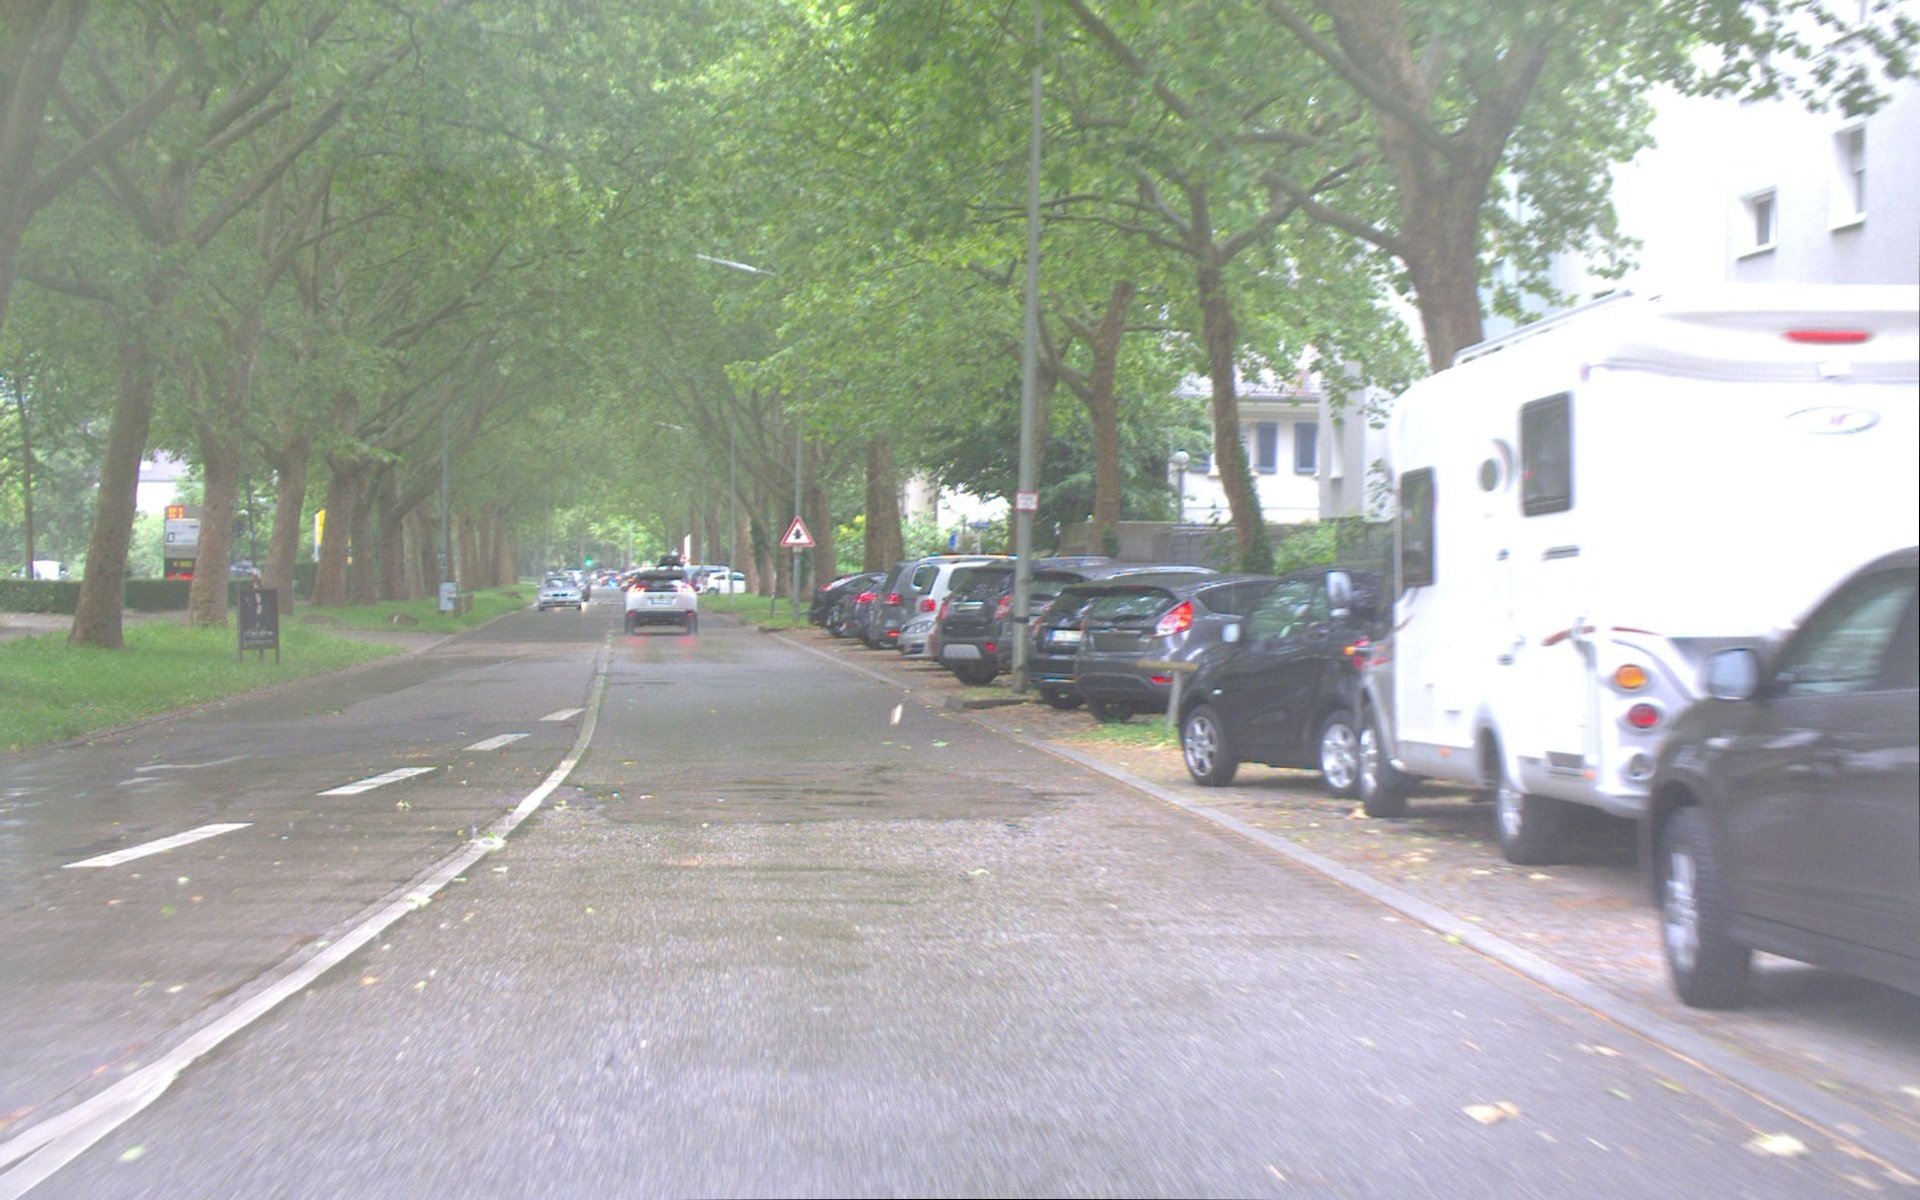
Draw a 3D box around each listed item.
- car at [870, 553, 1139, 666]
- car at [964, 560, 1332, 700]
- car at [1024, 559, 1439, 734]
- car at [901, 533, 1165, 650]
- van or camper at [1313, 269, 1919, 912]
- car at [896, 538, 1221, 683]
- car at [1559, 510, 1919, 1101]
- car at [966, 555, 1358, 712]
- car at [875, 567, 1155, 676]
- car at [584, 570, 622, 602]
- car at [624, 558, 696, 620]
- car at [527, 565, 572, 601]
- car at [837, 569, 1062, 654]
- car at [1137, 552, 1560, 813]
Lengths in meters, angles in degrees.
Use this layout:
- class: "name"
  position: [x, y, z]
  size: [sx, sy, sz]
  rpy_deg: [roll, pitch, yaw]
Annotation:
- class: "car"
  position: [0.719, 0.150, 57.984]
  size: [4.337, 1.756, 1.819]
  rpy_deg: [1, 1, -5]
- class: "car"
  position: [2.292, 0.364, 41.800]
  size: [3.987, 1.596, 2.035]
  rpy_deg: [1, 1, -32]
- class: "car"
  position: [2.703, 0.446, 33.943]
  size: [3.757, 1.596, 1.803]
  rpy_deg: [1, 1, -35]
- class: "car"
  position: [1.129, -0.146, 54.494]
  size: [3.986, 1.721, 1.801]
  rpy_deg: [1, 1, -4]
- class: "van or camper"
  position: [3.653, -0.074, 18.567]
  size: [2.318, 2.798, 6.865]
  rpy_deg: [1, 1, -4]
- class: "car"
  position: [1.298, 0.104, 44.754]
  size: [3.855, 1.691, 1.837]
  rpy_deg: [-2, 3, -33]
- class: "car"
  position: [3.447, 0.590, 10.655]
  size: [1.915, 1.615, 4.454]
  rpy_deg: [1, -1, -7]
- class: "car"
  position: [2.231, 0.366, 37.565]
  size: [3.987, 1.596, 1.803]
  rpy_deg: [1, 1, -35]
- class: "car"
  position: [0.801, 0.312, 51.960]
  size: [3.986, 1.507, 1.801]
  rpy_deg: [1, 1, -7]
- class: "car"
  position: [-16.900, -0.664, 162.880]
  size: [1.706, 1.406, 3.645]
  rpy_deg: [-1, 1, -5]
- class: "car"
  position: [-7.404, -0.289, 84.620]
  size: [1.706, 1.406, 3.645]
  rpy_deg: [-1, 1, -5]
- class: "car"
  position: [-16.986, -0.722, 142.360]
  size: [1.678, 1.384, 4.550]
  rpy_deg: [0, 1, -5]
- class: "car"
  position: [-0.217, 0.208, 64.955]
  size: [4.034, 1.436, 1.686]
  rpy_deg: [-2, 1, -8]
- class: "car"
  position: [2.629, 0.527, 23.851]
  size: [1.686, 1.647, 2.947]
  rpy_deg: [1, 1, -21]
